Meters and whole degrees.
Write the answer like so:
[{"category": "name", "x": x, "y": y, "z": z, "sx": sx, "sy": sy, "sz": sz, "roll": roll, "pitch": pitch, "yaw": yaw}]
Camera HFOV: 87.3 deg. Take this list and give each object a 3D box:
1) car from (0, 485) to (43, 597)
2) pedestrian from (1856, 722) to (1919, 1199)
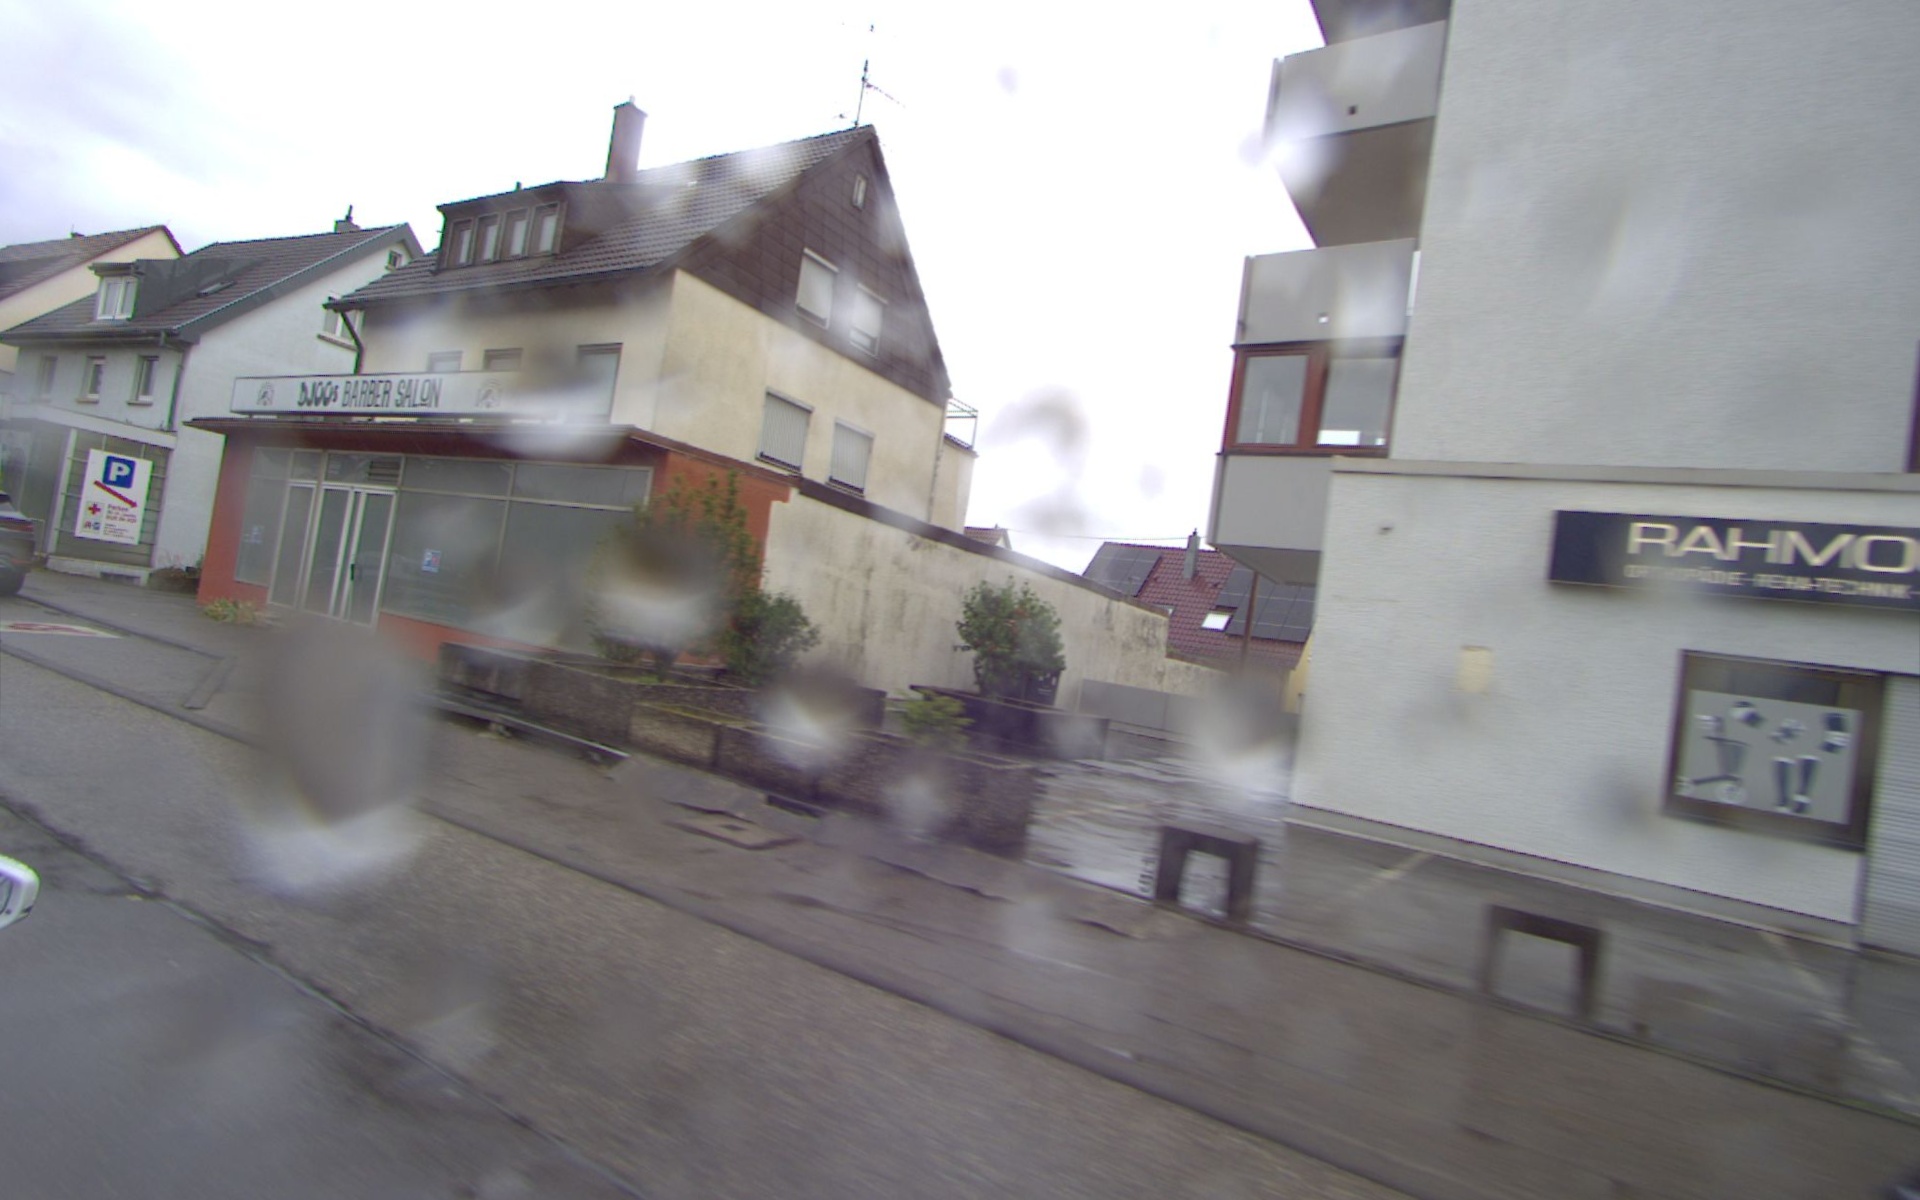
[{"category": "car", "x": -16.719, "y": -1.158, "z": 16.143, "sx": 4.717, "sy": 1.662, "sz": 1.876, "roll": 6, "pitch": -1, "yaw": 35}, {"category": "pedestrian", "x": 3.365, "y": 1.206, "z": 2.888, "sx": 0.977, "sy": 1.584, "sz": 0.754, "roll": 6, "pitch": -5, "yaw": 35}]
